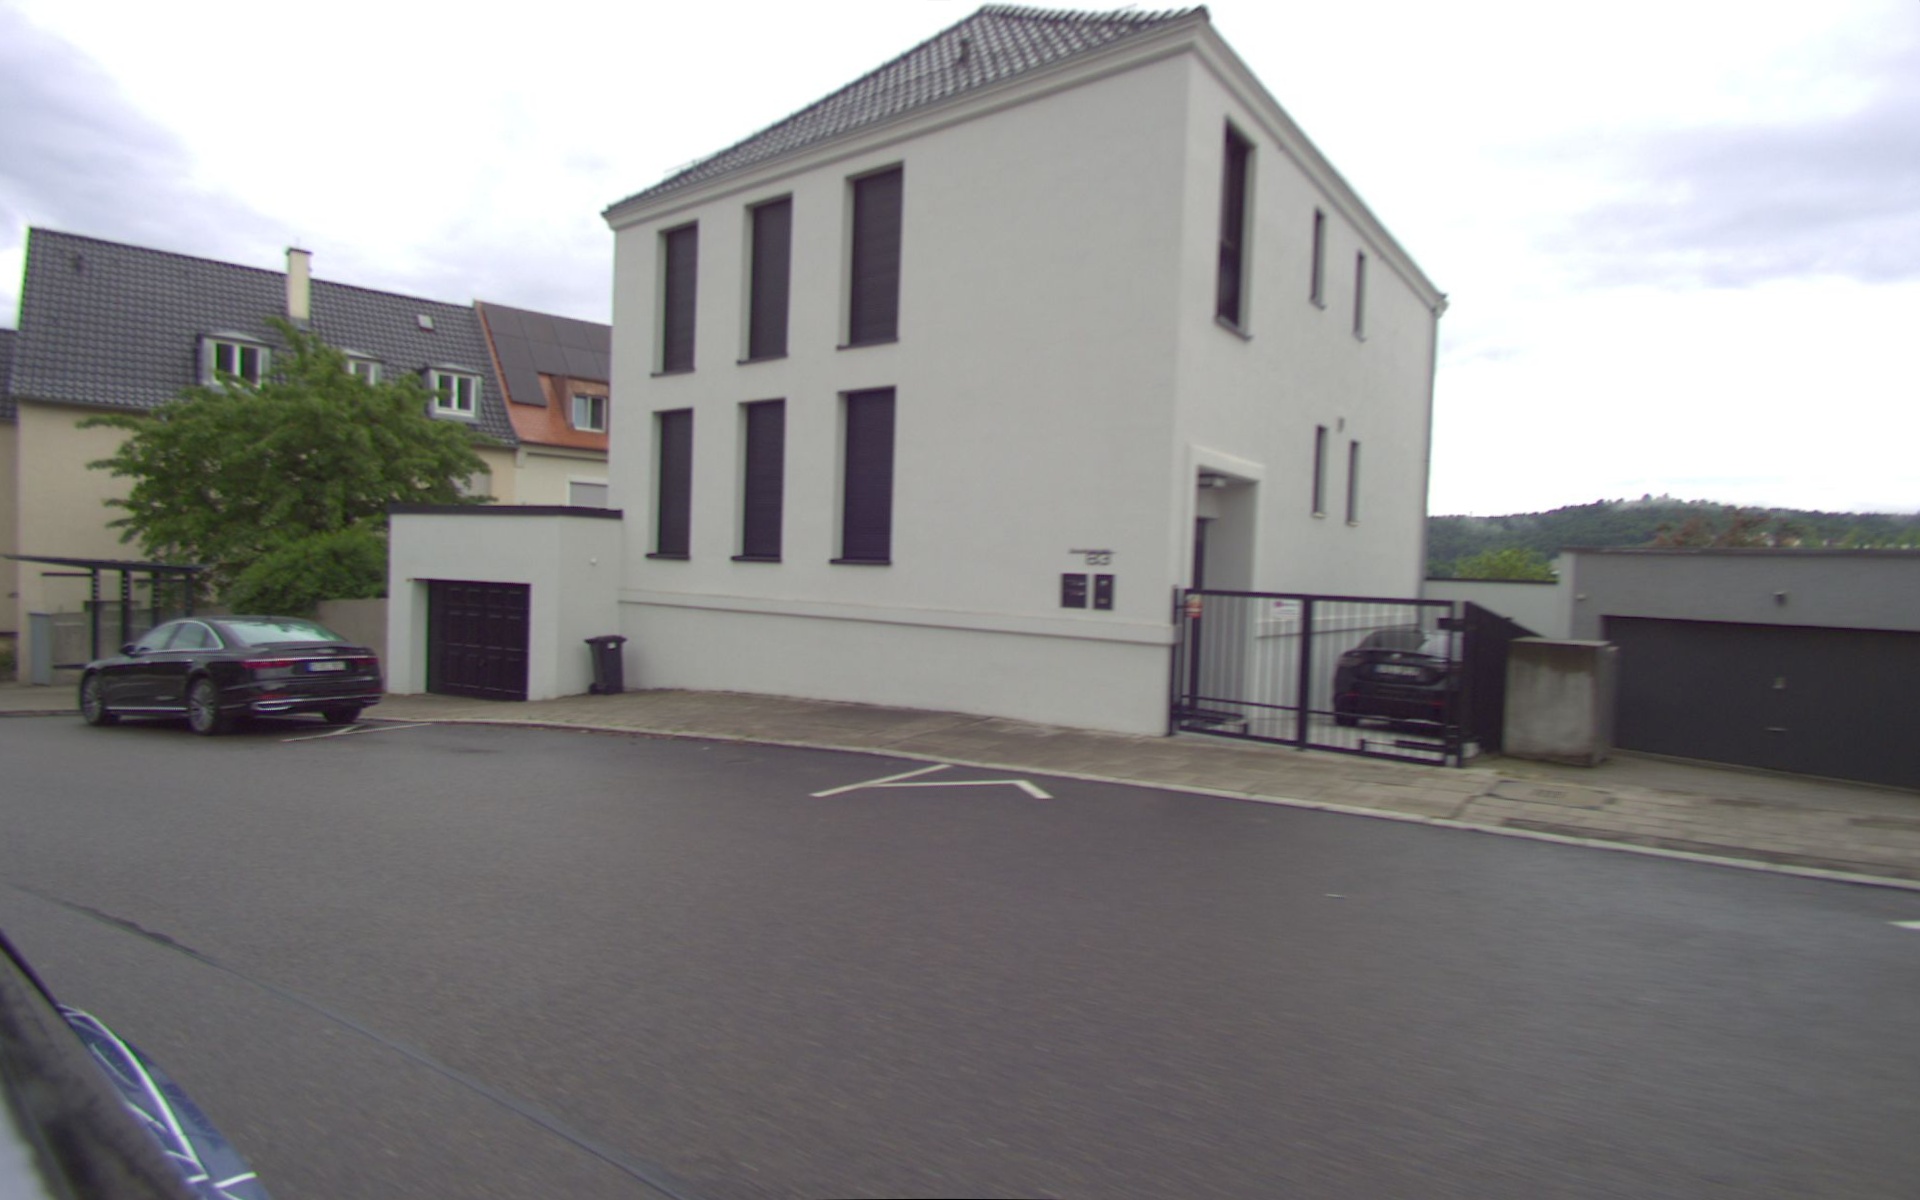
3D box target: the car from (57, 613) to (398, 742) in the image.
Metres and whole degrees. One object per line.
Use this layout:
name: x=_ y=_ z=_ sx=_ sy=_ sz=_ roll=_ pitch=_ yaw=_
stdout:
car: x=-10.128 y=0.972 z=13.909 sx=4.967 sy=1.497 sz=1.817 roll=-1 pitch=-1 yaw=28

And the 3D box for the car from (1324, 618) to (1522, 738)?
car: x=6.605 y=1.130 z=14.190 sx=1.739 sy=1.363 sz=3.951 roll=2 pitch=-4 yaw=36

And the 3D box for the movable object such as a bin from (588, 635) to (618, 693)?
movable object such as a bin: x=-5.799 y=1.038 z=16.449 sx=0.283 sy=0.920 sz=0.366 roll=-1 pitch=-2 yaw=39
